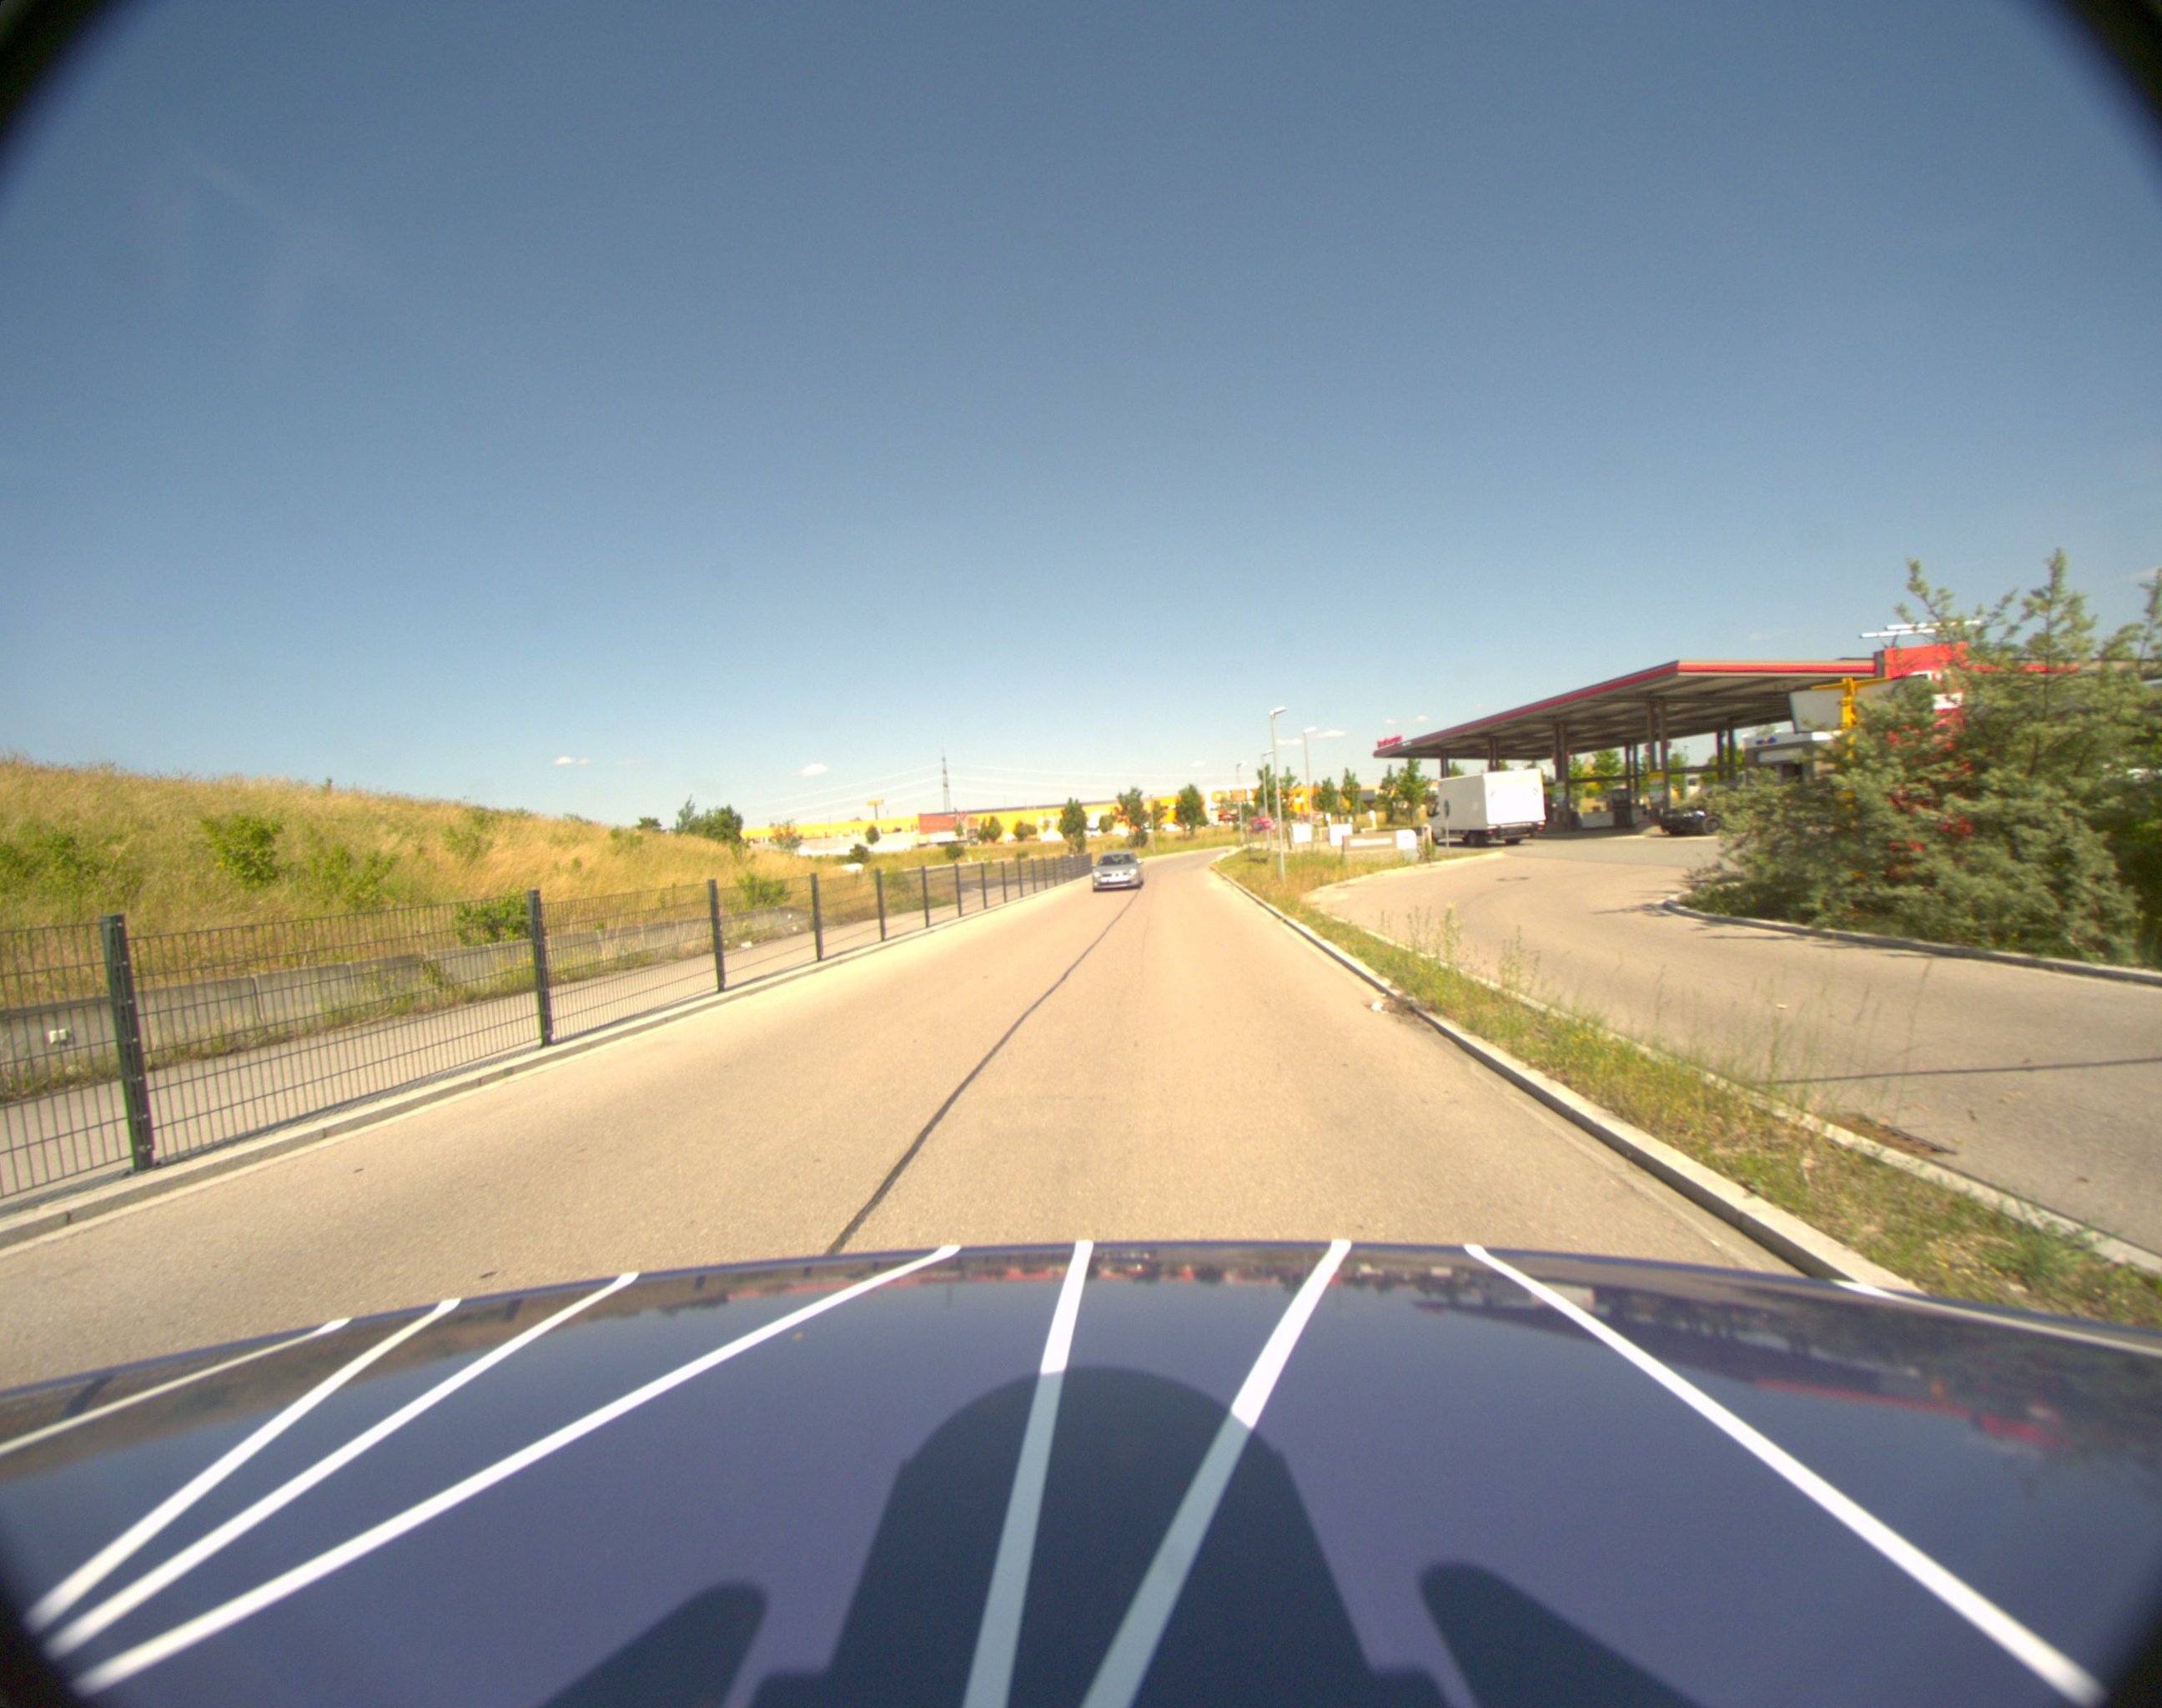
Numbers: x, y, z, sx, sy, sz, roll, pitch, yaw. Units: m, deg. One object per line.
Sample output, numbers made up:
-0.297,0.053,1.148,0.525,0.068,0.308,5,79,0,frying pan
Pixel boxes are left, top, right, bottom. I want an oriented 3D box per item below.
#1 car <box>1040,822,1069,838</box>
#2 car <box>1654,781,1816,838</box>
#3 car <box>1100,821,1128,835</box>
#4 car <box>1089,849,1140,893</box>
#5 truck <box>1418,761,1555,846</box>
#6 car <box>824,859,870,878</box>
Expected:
-4.574,-4.118,130.666,4.633,2.534,2.000,-4,1,2,car
24.969,-1.676,29.124,4.517,1.748,1.796,-4,1,2,car
5.633,-4.517,129.893,4.633,2.002,2.000,-4,1,2,car
1.331,0.610,28.988,1.745,1.460,3.961,-2,1,5,car
18.149,-2.143,34.606,2.639,3.299,6.905,-4,1,3,truck
-30.494,1.931,99.061,5.251,2.002,2.000,-4,1,1,car
